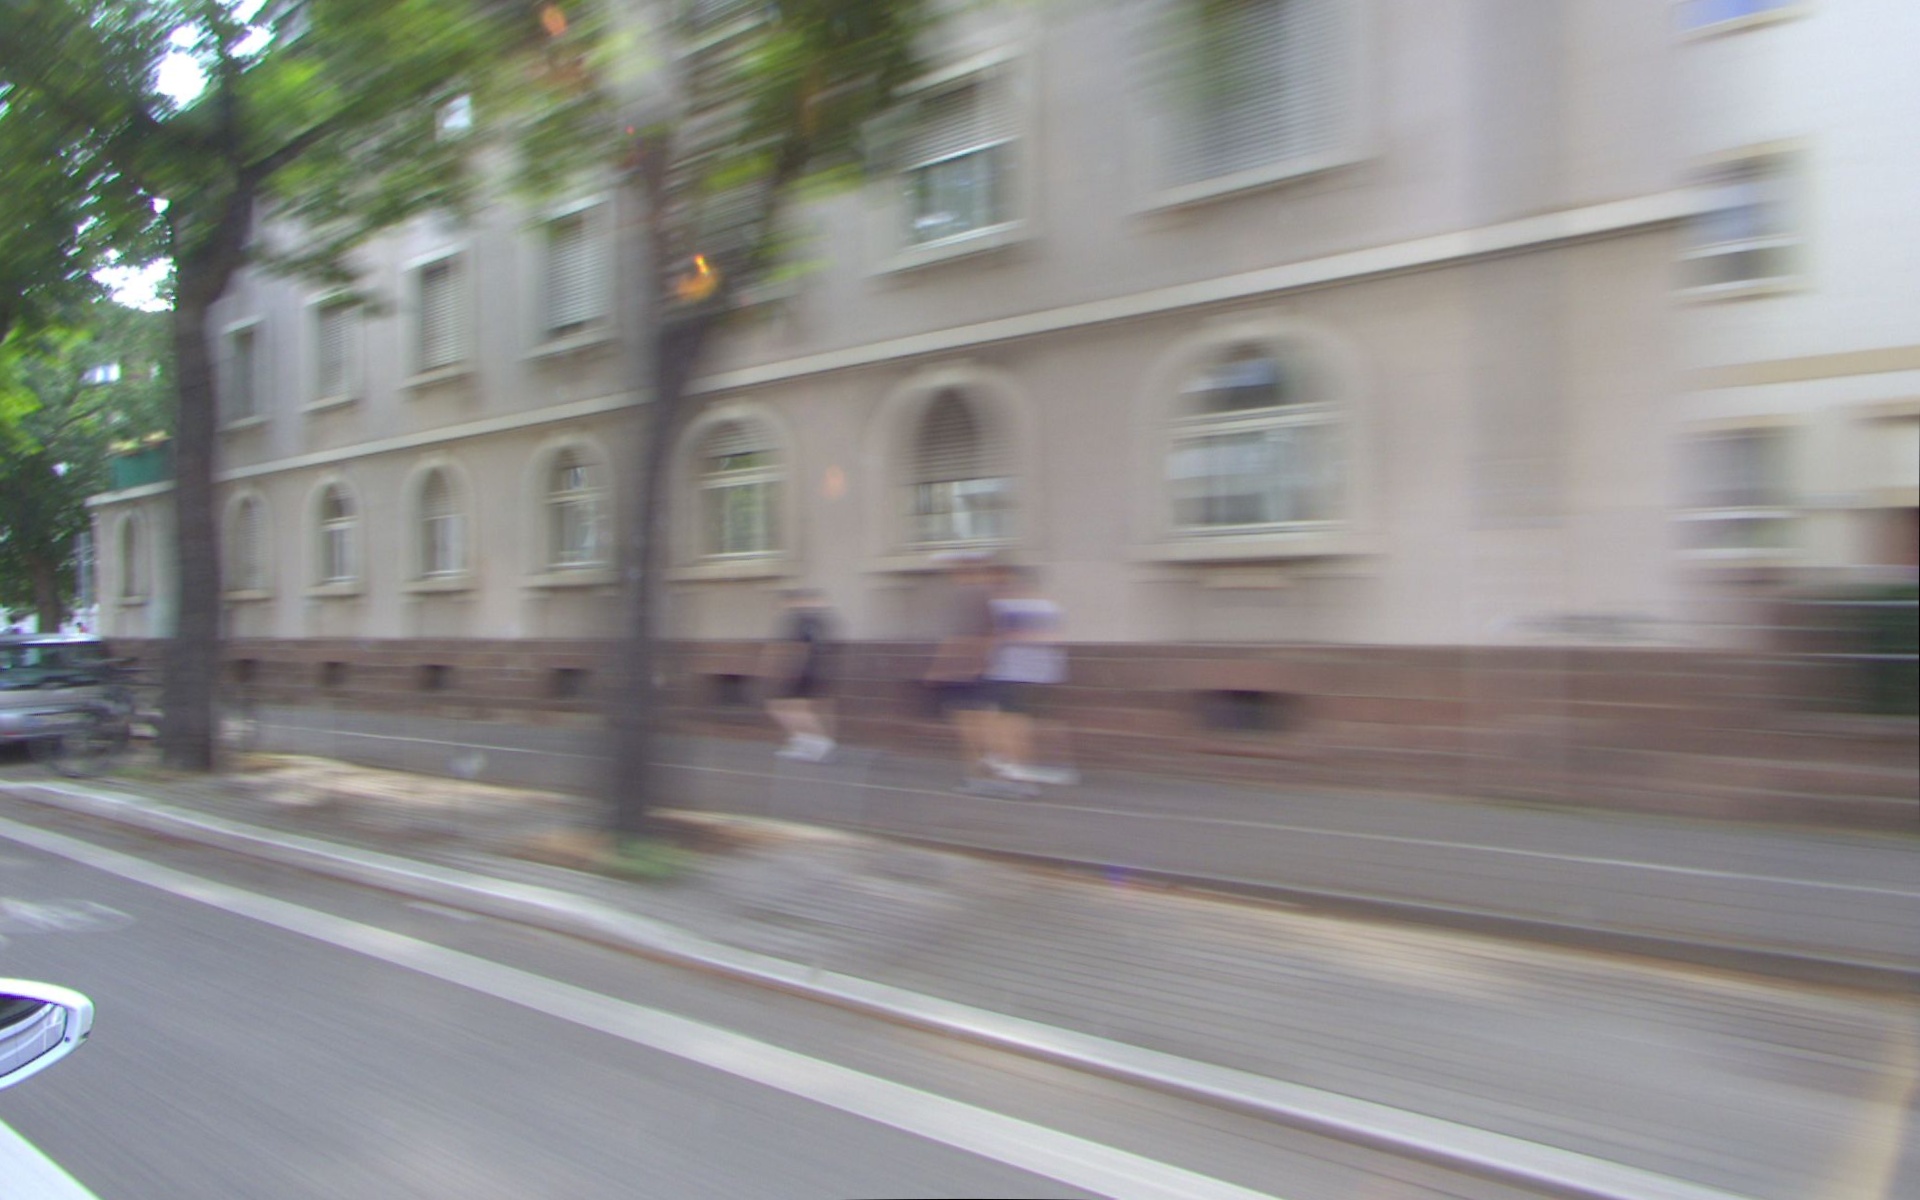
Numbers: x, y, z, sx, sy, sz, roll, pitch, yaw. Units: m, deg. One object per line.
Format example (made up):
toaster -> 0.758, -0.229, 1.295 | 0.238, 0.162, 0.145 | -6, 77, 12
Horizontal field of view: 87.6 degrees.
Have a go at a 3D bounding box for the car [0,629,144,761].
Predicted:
car -> -12.073, 1.107, 12.674 | 3.842, 1.463, 1.582 | -1, -1, 32

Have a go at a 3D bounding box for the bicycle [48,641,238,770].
bicycle -> -8.579, 1.068, 10.560 | 0.512, 1.236, 1.481 | -2, -2, 39

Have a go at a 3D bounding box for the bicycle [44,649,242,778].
bicycle -> -8.202, 1.098, 10.101 | 0.512, 1.168, 1.481 | -1, -1, 39

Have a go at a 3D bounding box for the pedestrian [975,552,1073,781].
pedestrian -> 0.546, 0.552, 8.577 | 0.677, 1.876, 0.503 | -1, -1, 32

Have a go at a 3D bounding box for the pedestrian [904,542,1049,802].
pedestrian -> 0.137, 0.539, 7.921 | 0.873, 1.914, 0.752 | -1, 0, 32

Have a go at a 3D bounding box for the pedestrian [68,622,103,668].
pedestrian -> -37.206, 1.911, 42.624 | 0.964, 1.961, 0.897 | 0, -2, -31

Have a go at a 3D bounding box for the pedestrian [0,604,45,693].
pedestrian -> -20.163, 1.029, 21.421 | 1.015, 1.857, 0.617 | -1, -1, 31

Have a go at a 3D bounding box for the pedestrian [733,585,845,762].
pedestrian -> -1.695, 0.704, 9.931 | 0.962, 1.661, 0.579 | -1, -1, 32
